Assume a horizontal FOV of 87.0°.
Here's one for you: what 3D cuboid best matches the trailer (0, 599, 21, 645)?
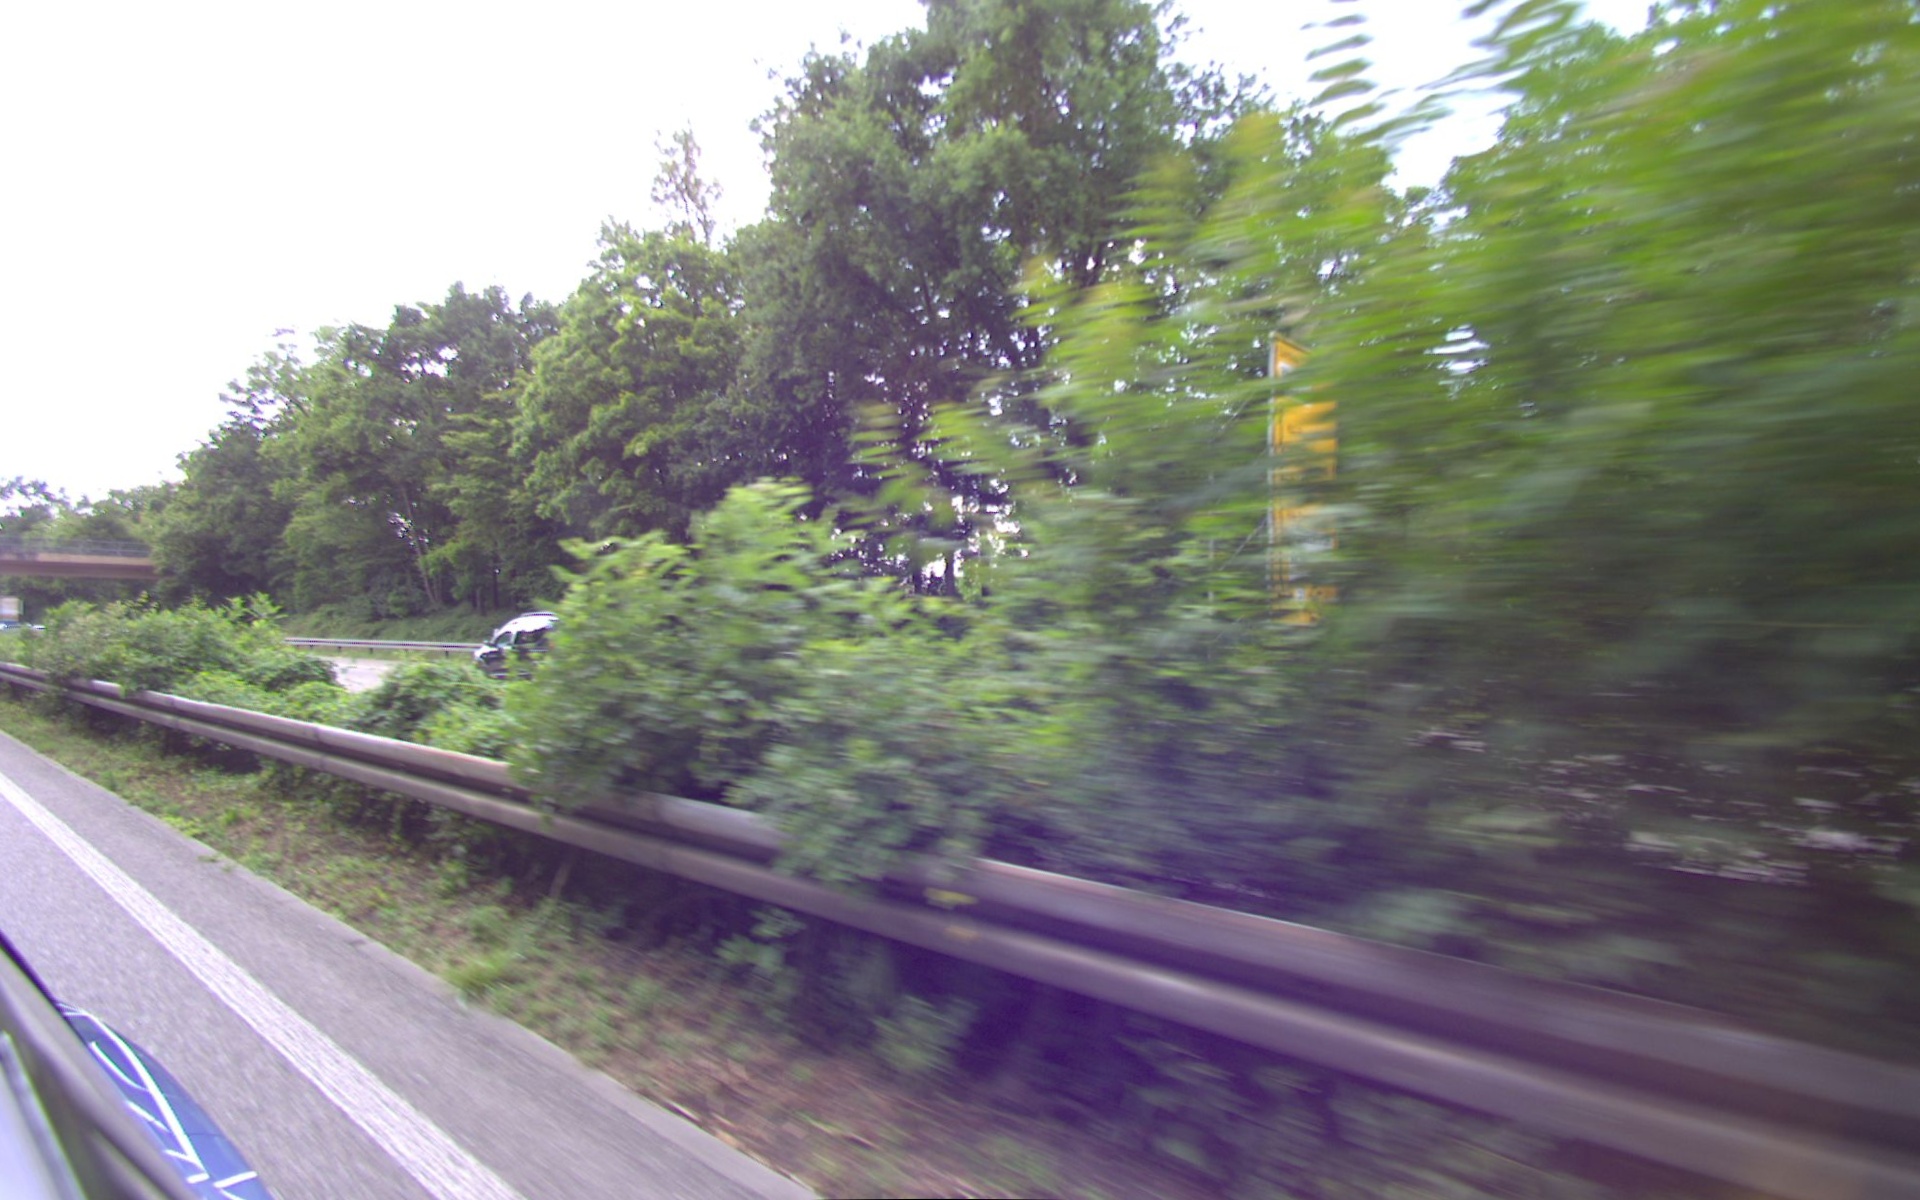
[{"bbox_3d":[-88.644,2.033,92.702,9.972,4.073,3.027,-2,-2,42],"label":"trailer"}]

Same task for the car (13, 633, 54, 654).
[{"bbox_3d":[-68.285,3.175,74.569,4.468,1.484,1.716,-2,-2,41],"label":"car"}]

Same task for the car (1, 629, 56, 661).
[{"bbox_3d":[-49.027,2.349,53.264,3.998,1.643,1.698,-2,-2,41],"label":"car"}]

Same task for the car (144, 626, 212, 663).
[{"bbox_3d":[-38.270,2.154,49.487,4.593,1.674,1.809,-2,-1,41],"label":"car"}]

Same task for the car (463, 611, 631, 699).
[{"bbox_3d":[-9.749,1.231,23.748,4.275,1.884,1.973,-2,-2,41],"label":"car"}]

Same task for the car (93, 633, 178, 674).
[{"bbox_3d":[-31.656,2.006,38.799,4.715,1.443,1.765,-2,-1,41],"label":"car"}]
